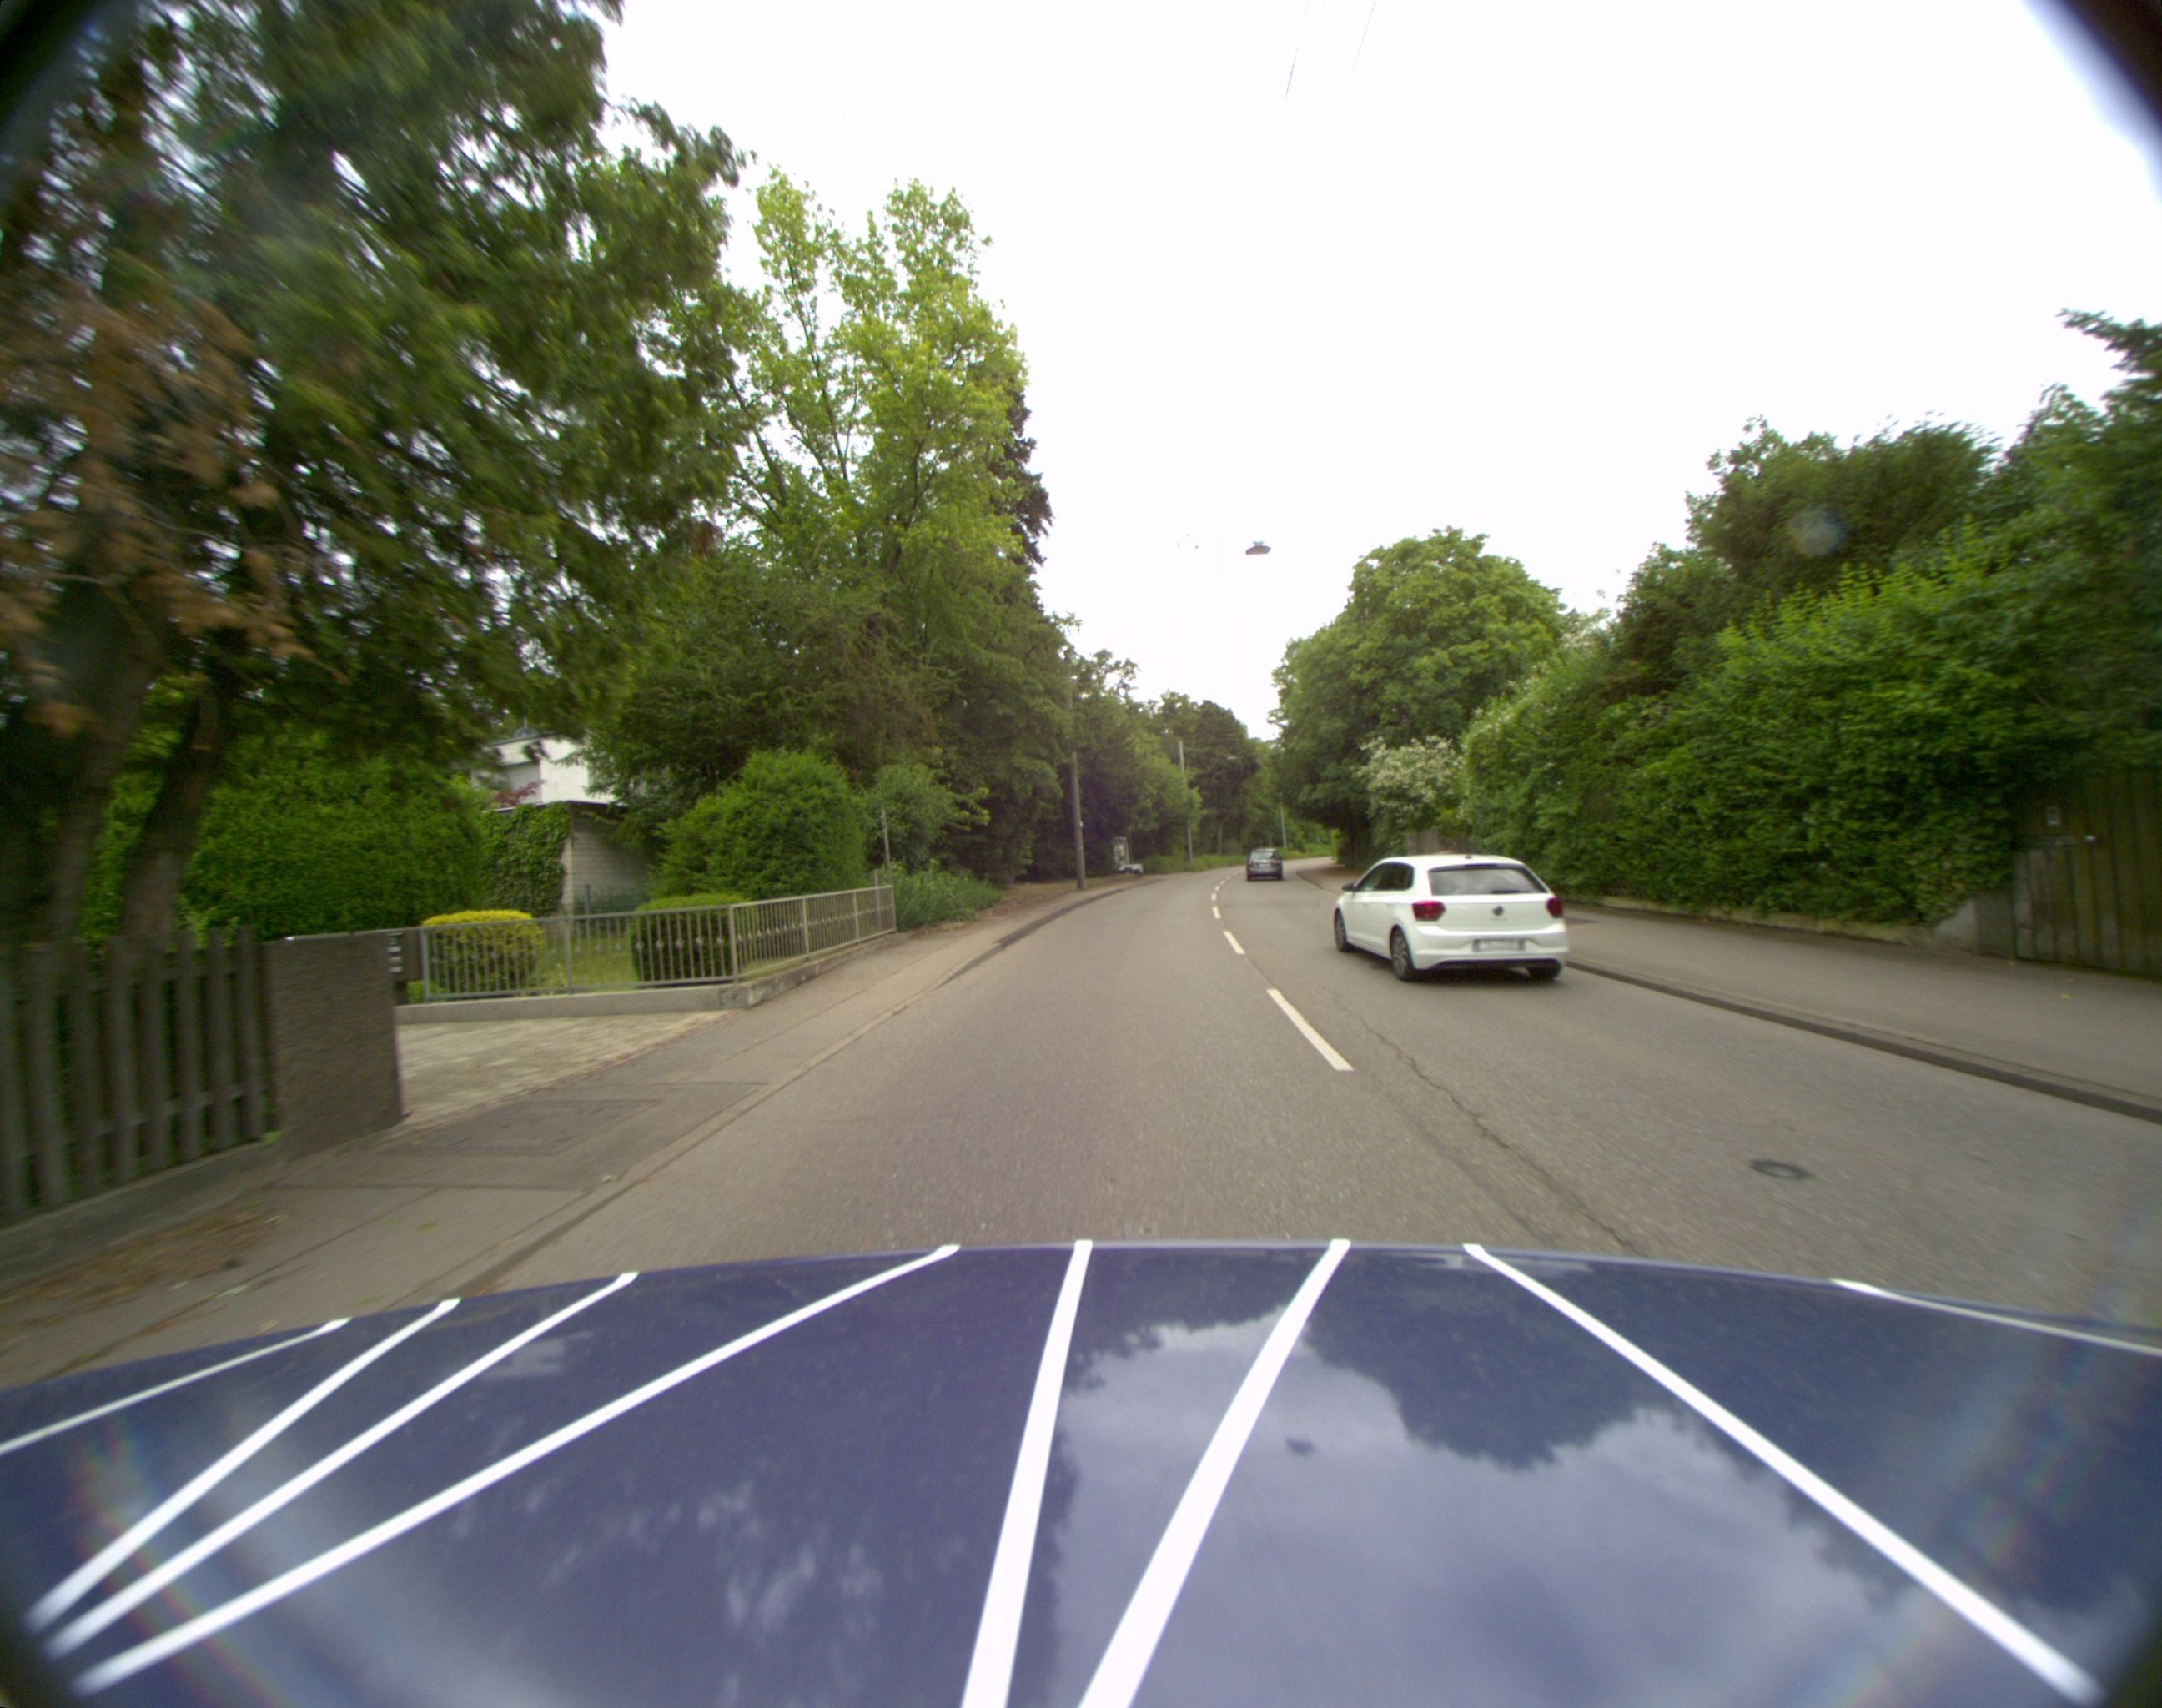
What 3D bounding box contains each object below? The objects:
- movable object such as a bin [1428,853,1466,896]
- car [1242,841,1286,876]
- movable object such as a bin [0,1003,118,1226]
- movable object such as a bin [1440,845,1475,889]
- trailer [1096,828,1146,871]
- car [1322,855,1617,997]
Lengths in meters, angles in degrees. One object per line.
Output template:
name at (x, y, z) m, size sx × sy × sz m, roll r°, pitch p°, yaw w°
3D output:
movable object such as a bin at (10.441, 0.581, 21.719) m, size 0.742 × 1.134 × 0.647 m, roll -5°, pitch 0°, yaw 9°
car at (9.263, 0.192, 38.206) m, size 1.996 × 1.609 × 4.004 m, roll 0°, pitch 1°, yaw 16°
movable object such as a bin at (-5.817, 1.362, 3.898) m, size 0.778 × 1.042 × 0.783 m, roll -2°, pitch 0°, yaw 11°
movable object such as a bin at (10.382, 0.355, 20.975) m, size 0.630 × 1.138 × 0.647 m, roll -5°, pitch 0°, yaw 9°
trailer at (2.840, -0.309, 53.441) m, size 3.121 × 2.883 × 1.594 m, roll -3°, pitch 0°, yaw 14°
car at (4.574, 0.741, 9.678) m, size 1.907 × 1.445 × 3.797 m, roll 0°, pitch 0°, yaw 2°
